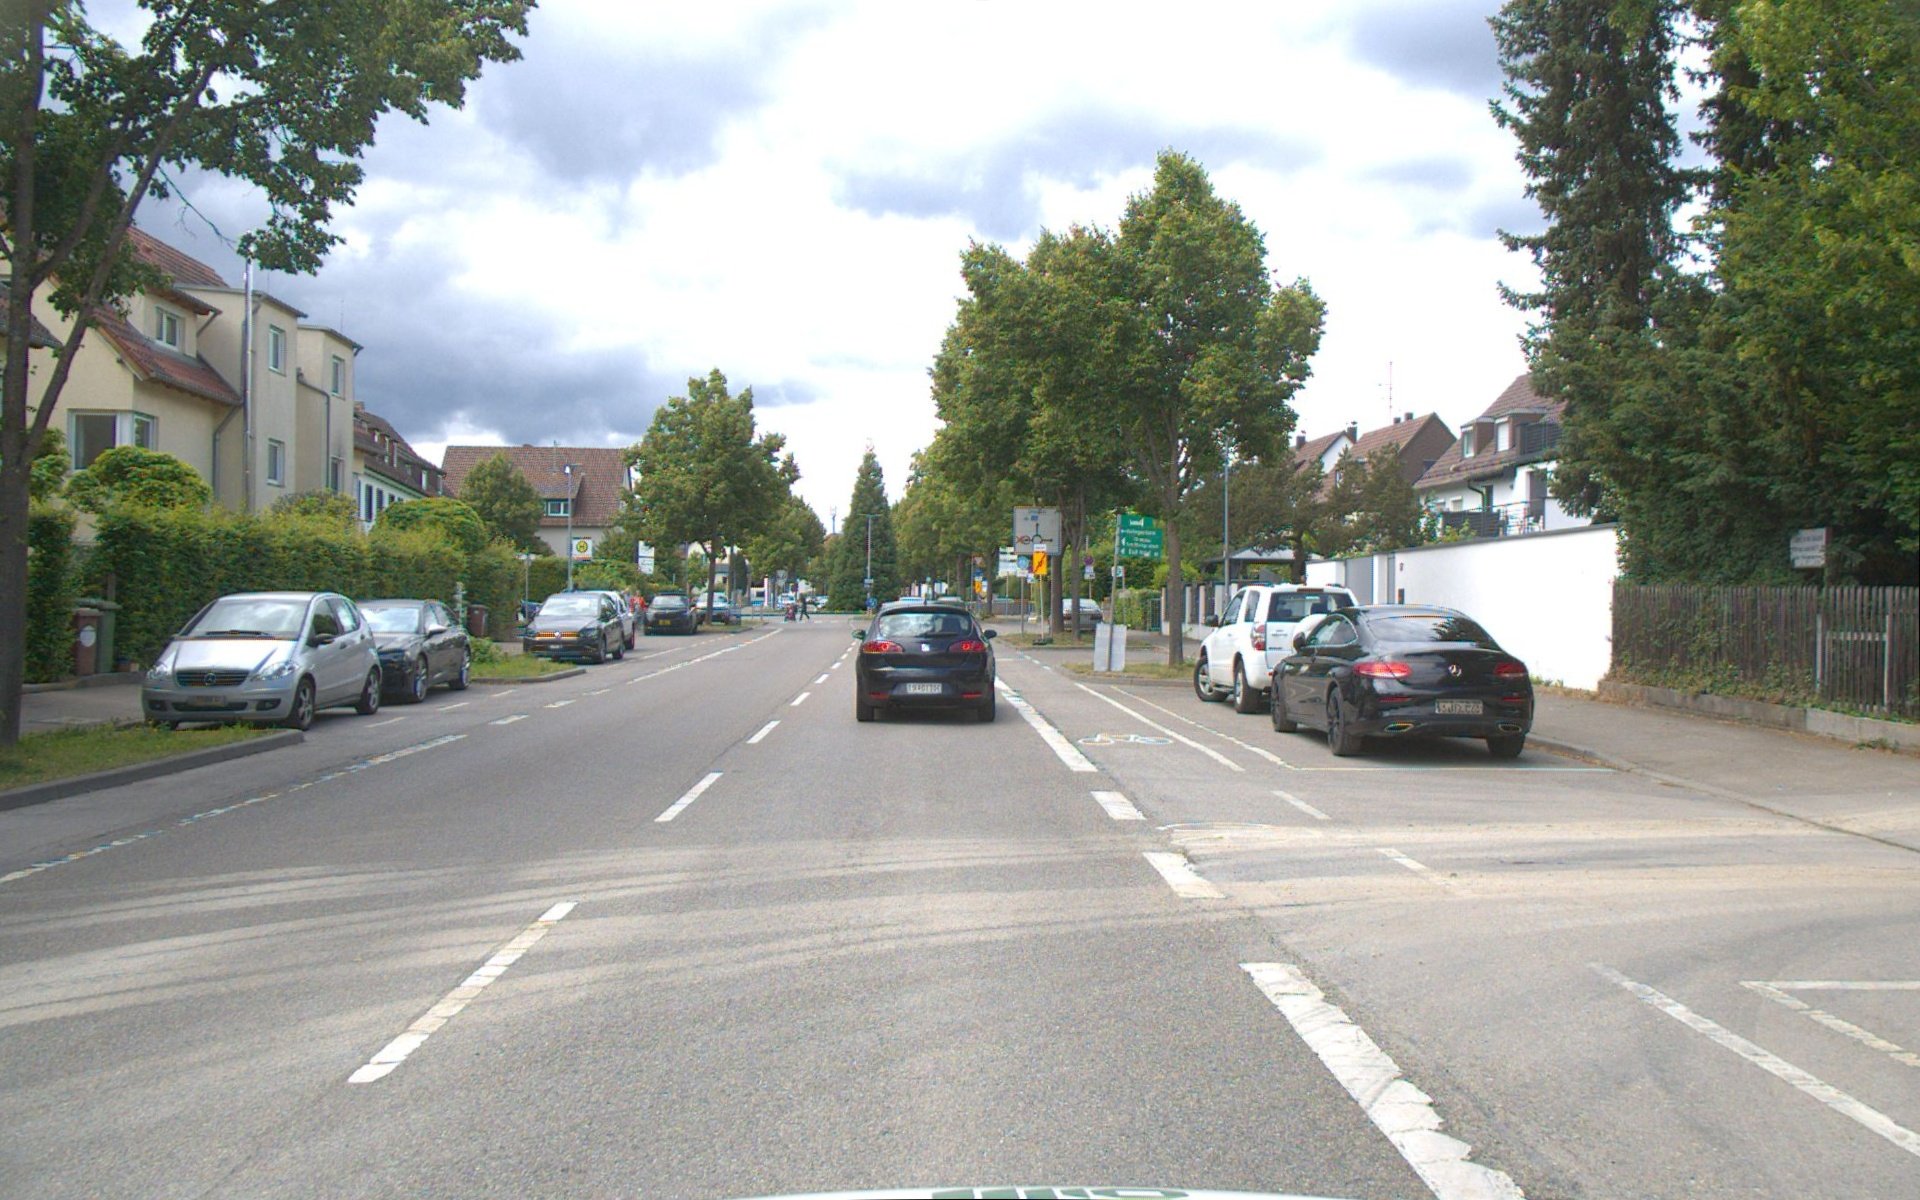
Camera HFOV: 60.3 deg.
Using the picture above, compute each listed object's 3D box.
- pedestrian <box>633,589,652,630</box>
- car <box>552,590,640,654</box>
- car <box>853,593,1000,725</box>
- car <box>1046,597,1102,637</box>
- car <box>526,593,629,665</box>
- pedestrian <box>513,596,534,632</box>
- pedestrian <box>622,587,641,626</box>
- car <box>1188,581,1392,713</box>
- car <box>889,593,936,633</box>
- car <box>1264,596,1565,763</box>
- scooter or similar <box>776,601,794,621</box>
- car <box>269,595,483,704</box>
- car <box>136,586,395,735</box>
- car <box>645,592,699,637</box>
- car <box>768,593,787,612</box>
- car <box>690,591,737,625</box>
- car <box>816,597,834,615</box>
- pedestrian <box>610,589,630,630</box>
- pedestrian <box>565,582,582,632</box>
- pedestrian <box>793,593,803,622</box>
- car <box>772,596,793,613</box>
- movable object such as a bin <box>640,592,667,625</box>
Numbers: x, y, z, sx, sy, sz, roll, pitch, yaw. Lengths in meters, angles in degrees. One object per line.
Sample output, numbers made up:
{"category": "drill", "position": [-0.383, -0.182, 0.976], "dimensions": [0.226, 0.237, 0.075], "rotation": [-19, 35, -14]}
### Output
{"category": "pedestrian", "position": [-13.382, 0.397, 69.765], "dimensions": [0.772, 1.692, 0.753], "rotation": [0, 0, -9]}
{"category": "car", "position": [-9.975, 0.577, 45.650], "dimensions": [1.785, 1.662, 4.581], "rotation": [0, 0, -5]}
{"category": "car", "position": [-0.386, 0.688, 21.366], "dimensions": [1.696, 1.512, 4.000], "rotation": [1, 0, 0]}
{"category": "car", "position": [4.105, 0.638, 59.896], "dimensions": [1.579, 1.401, 4.385], "rotation": [0, -1, -2]}
{"category": "car", "position": [-8.816, 0.634, 38.415], "dimensions": [1.644, 1.579, 4.269], "rotation": [0, 0, -4]}
{"category": "pedestrian", "position": [-15.981, 0.509, 60.529], "dimensions": [0.576, 1.336, 0.705], "rotation": [0, 0, -2]}
{"category": "pedestrian", "position": [-14.022, 0.277, 70.665], "dimensions": [0.772, 1.692, 0.590], "rotation": [0, 0, -10]}
{"category": "car", "position": [4.471, 0.603, 23.009], "dimensions": [1.862, 1.671, 4.114], "rotation": [0, 0, -2]}
{"category": "car", "position": [-2.047, 0.544, 71.450], "dimensions": [1.953, 1.641, 3.999], "rotation": [1, 0, -1]}
{"category": "car", "position": [4.448, 0.701, 16.936], "dimensions": [1.825, 1.441, 4.602], "rotation": [0, 0, 0]}
{"category": "scooter or similar", "position": [-10.369, 0.668, 98.224], "dimensions": [0.953, 1.115, 0.404], "rotation": [3, -1, -21]}
{"category": "car", "position": [-8.924, 0.696, 25.725], "dimensions": [1.955, 1.511, 4.885], "rotation": [-1, 0, -5]}
{"category": "car", "position": [-8.407, 0.670, 20.393], "dimensions": [1.684, 1.641, 3.908], "rotation": [0, 0, -3]}
{"category": "car", "position": [-11.628, 0.568, 67.004], "dimensions": [1.690, 1.755, 4.561], "rotation": [1, 0, -4]}
{"category": "car", "position": [-19.691, 0.235, 178.763], "dimensions": [1.990, 2.005, 3.996], "rotation": [0, 0, -5]}
{"category": "car", "position": [-12.391, 0.392, 83.264], "dimensions": [1.823, 1.682, 4.292], "rotation": [1, 0, -2]}
{"category": "car", "position": [-12.588, 0.524, 154.476], "dimensions": [1.537, 1.663, 3.620], "rotation": [0, 0, -3]}
{"category": "pedestrian", "position": [-14.291, 0.390, 69.525], "dimensions": [0.772, 1.692, 0.879], "rotation": [0, 0, -9]}
{"category": "pedestrian", "position": [-14.179, 0.257, 60.659], "dimensions": [0.493, 1.837, 0.671], "rotation": [0, 0, -3]}
{"category": "pedestrian", "position": [-9.659, 0.431, 98.525], "dimensions": [0.506, 1.699, 0.480], "rotation": [0, 0, -19]}
{"category": "car", "position": [-17.248, 0.429, 160.811], "dimensions": [1.762, 1.629, 3.997], "rotation": [0, 0, -3]}
{"category": "movable object such as a bin", "position": [-15.914, 0.441, 85.907], "dimensions": [1.182, 1.680, 0.997], "rotation": [2, -1, -5]}
